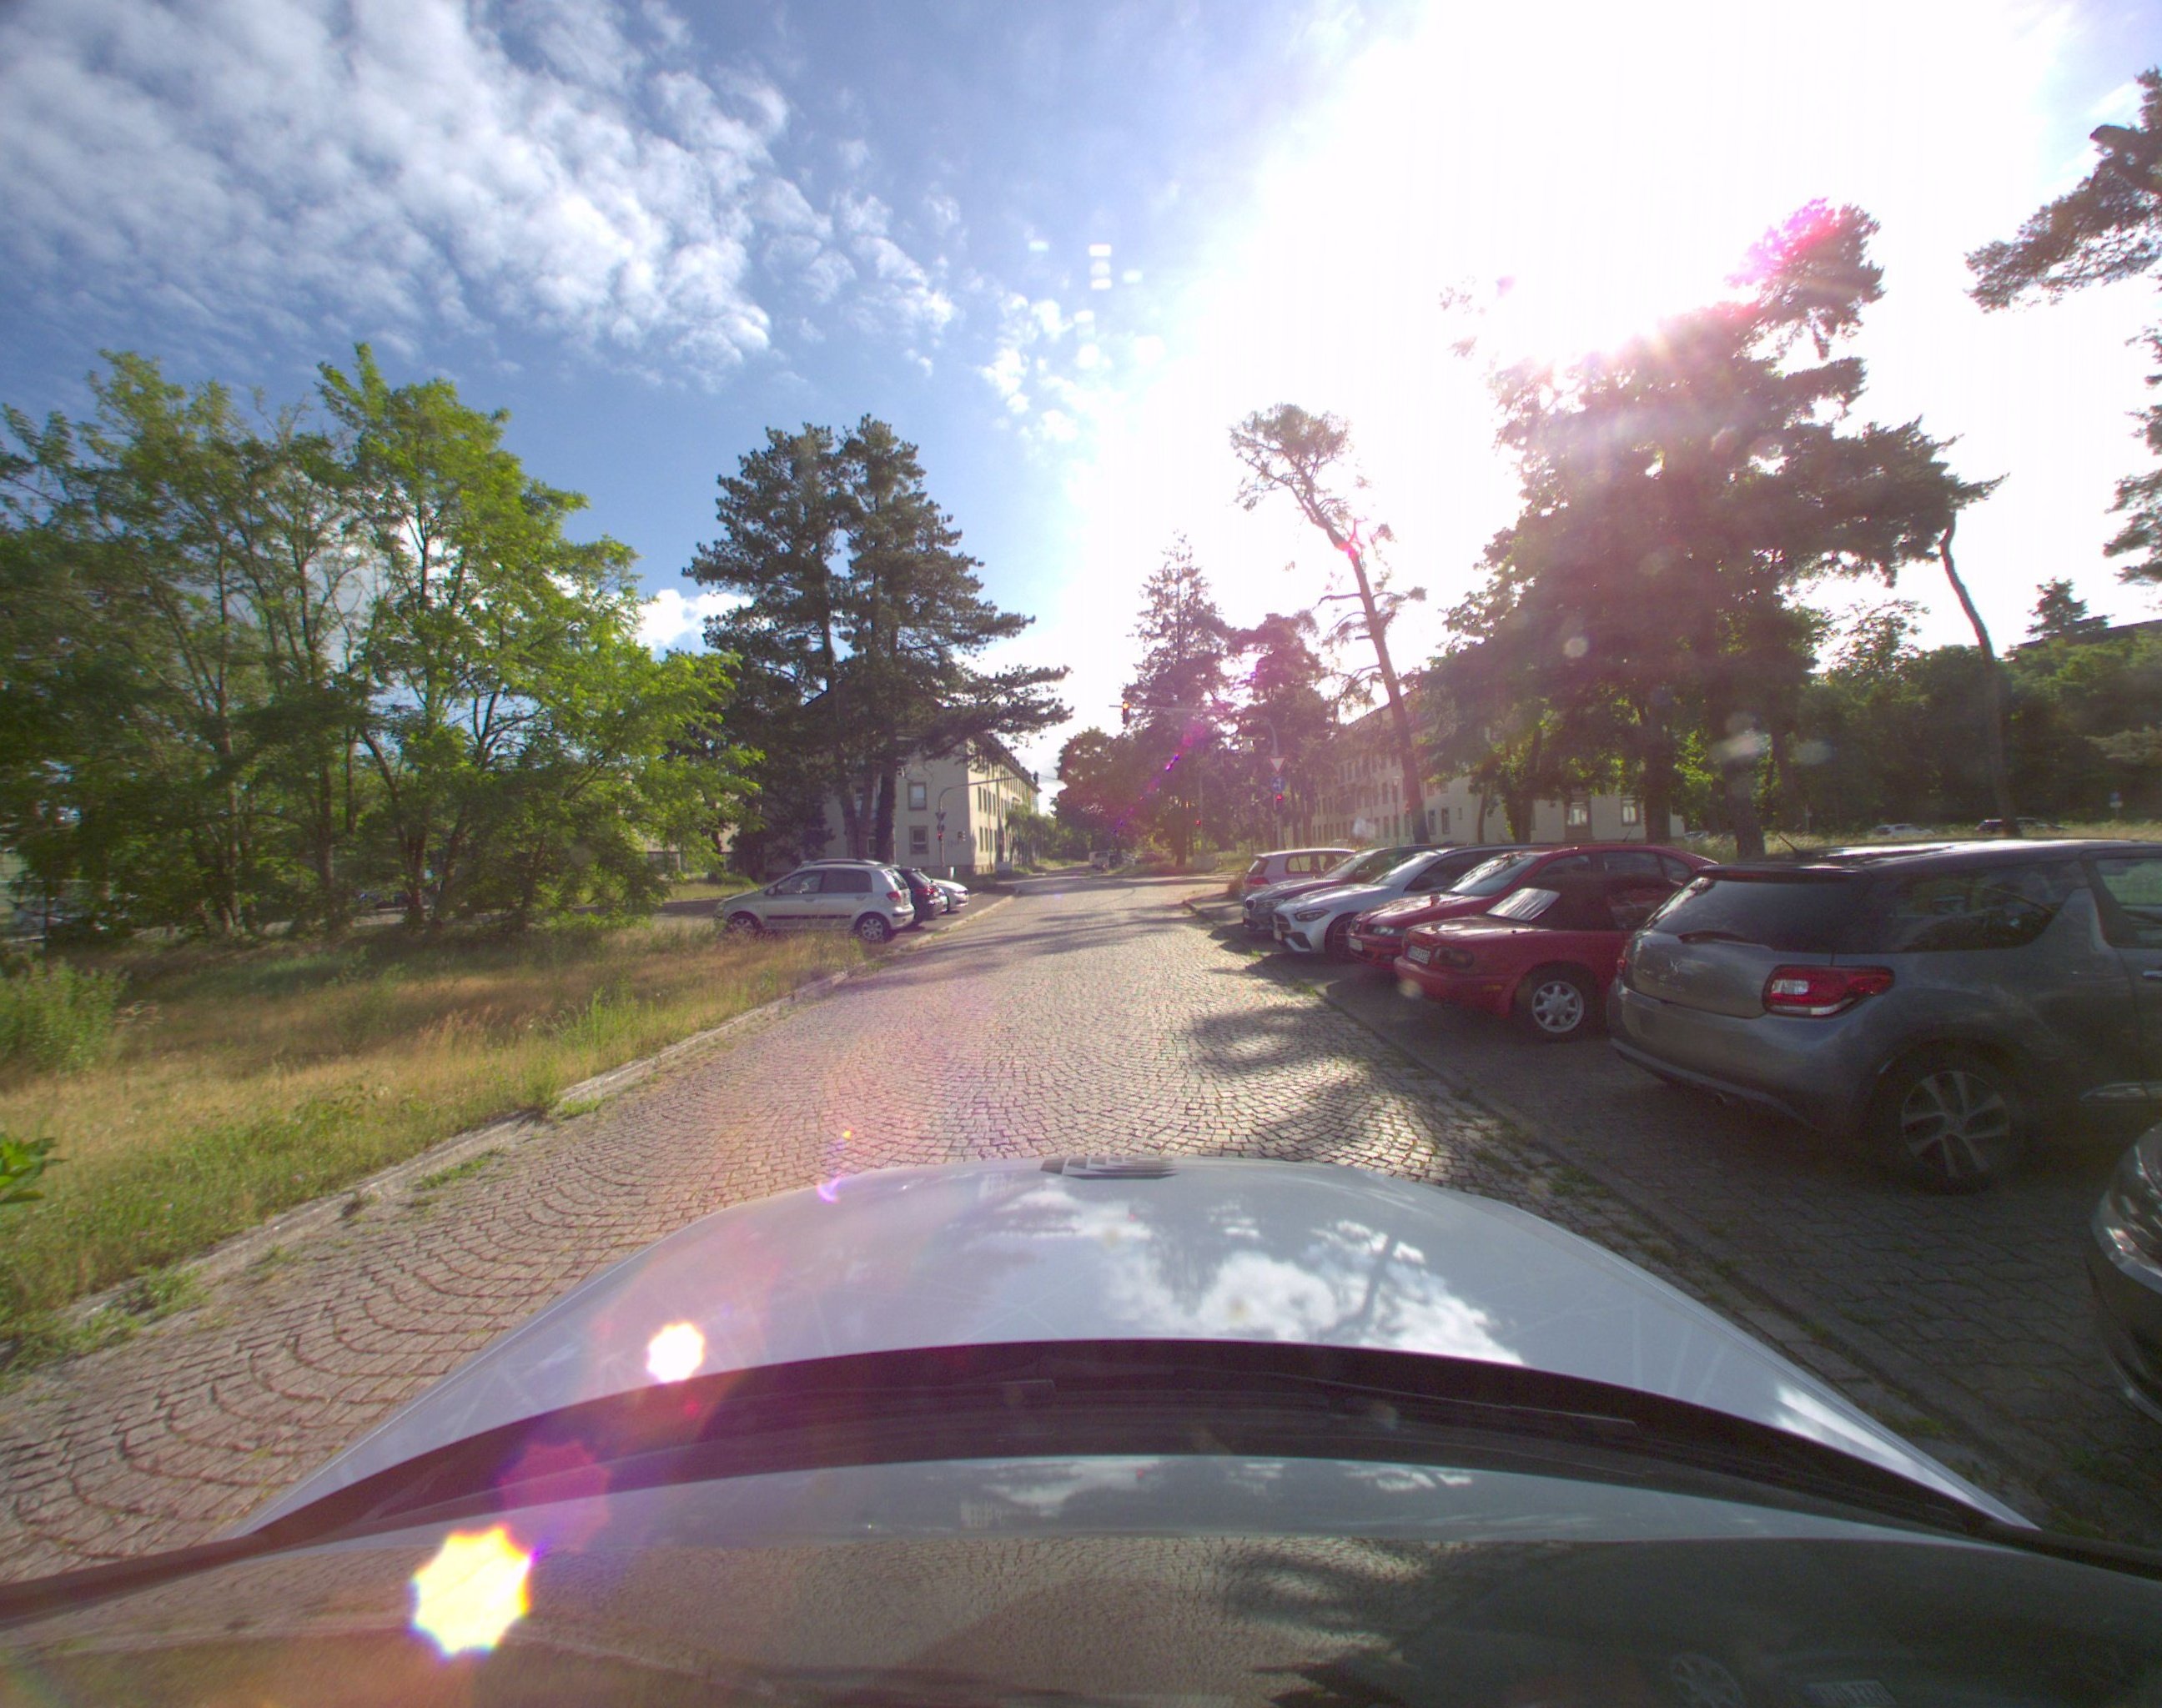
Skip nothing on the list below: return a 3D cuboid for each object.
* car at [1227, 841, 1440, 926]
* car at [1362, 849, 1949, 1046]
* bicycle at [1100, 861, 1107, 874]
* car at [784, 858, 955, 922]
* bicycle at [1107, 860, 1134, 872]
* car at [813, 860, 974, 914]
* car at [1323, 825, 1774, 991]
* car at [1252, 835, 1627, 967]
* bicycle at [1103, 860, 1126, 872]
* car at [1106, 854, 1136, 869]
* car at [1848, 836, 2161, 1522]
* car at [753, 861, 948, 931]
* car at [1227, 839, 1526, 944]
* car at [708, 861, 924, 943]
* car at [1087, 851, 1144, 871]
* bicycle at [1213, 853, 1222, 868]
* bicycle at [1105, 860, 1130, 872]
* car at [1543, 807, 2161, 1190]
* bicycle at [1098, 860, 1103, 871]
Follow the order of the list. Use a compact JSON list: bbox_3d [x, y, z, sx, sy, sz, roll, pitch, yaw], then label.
[{"bbox_3d":[5.106,0.572,16.838,3.867,1.415,1.637,-4,0,2],"label":"car"},{"bbox_3d":[4.551,0.697,6.924,3.693,1.223,1.747,-4,0,2],"label":"car"},{"bbox_3d":[1.707,1.034,62.356,0.466,1.010,1.585,0,-1,-2],"label":"bicycle"},{"bbox_3d":[-5.547,0.920,21.766,4.069,1.593,1.884,0,0,-2],"label":"car"},{"bbox_3d":[3.162,0.969,65.783,2.106,1.010,0.619,0,-1,-6],"label":"bicycle"},{"bbox_3d":[-5.419,0.939,23.975,4.321,1.468,1.829,0,0,-2],"label":"car"},{"bbox_3d":[5.069,0.555,9.254,4.112,1.449,1.637,-4,0,2],"label":"car"},{"bbox_3d":[4.796,0.605,11.405,4.415,1.415,1.782,-4,0,2],"label":"car"},{"bbox_3d":[2.848,1.010,69.313,1.835,1.010,0.634,0,-1,-6],"label":"bicycle"},{"bbox_3d":[3.930,0.780,80.305,2.775,1.467,1.669,0,-1,-3],"label":"car"},{"bbox_3d":[4.144,0.615,1.460,3.693,1.449,1.857,-4,0,2],"label":"car"},{"bbox_3d":[-5.208,0.929,18.796,3.976,1.480,1.802,0,0,-2],"label":"car"},{"bbox_3d":[4.966,0.603,14.119,4.542,1.415,1.637,-4,0,2],"label":"car"},{"bbox_3d":[-5.147,0.911,16.171,3.736,1.487,1.645,0,0,-2],"label":"car"},{"bbox_3d":[3.593,0.669,83.937,5.534,2.014,1.989,0,-1,-17],"label":"car"},{"bbox_3d":[9.003,0.444,53.611,0.300,0.961,1.585,0,-1,-2],"label":"bicycle"},{"bbox_3d":[3.045,0.990,67.552,2.002,1.010,0.631,0,-1,-6],"label":"bicycle"},{"bbox_3d":[4.838,0.566,4.316,3.694,1.449,1.817,-4,0,1],"label":"car"},{"bbox_3d":[1.819,1.047,75.524,0.415,1.010,1.484,0,-1,2],"label":"bicycle"}]
